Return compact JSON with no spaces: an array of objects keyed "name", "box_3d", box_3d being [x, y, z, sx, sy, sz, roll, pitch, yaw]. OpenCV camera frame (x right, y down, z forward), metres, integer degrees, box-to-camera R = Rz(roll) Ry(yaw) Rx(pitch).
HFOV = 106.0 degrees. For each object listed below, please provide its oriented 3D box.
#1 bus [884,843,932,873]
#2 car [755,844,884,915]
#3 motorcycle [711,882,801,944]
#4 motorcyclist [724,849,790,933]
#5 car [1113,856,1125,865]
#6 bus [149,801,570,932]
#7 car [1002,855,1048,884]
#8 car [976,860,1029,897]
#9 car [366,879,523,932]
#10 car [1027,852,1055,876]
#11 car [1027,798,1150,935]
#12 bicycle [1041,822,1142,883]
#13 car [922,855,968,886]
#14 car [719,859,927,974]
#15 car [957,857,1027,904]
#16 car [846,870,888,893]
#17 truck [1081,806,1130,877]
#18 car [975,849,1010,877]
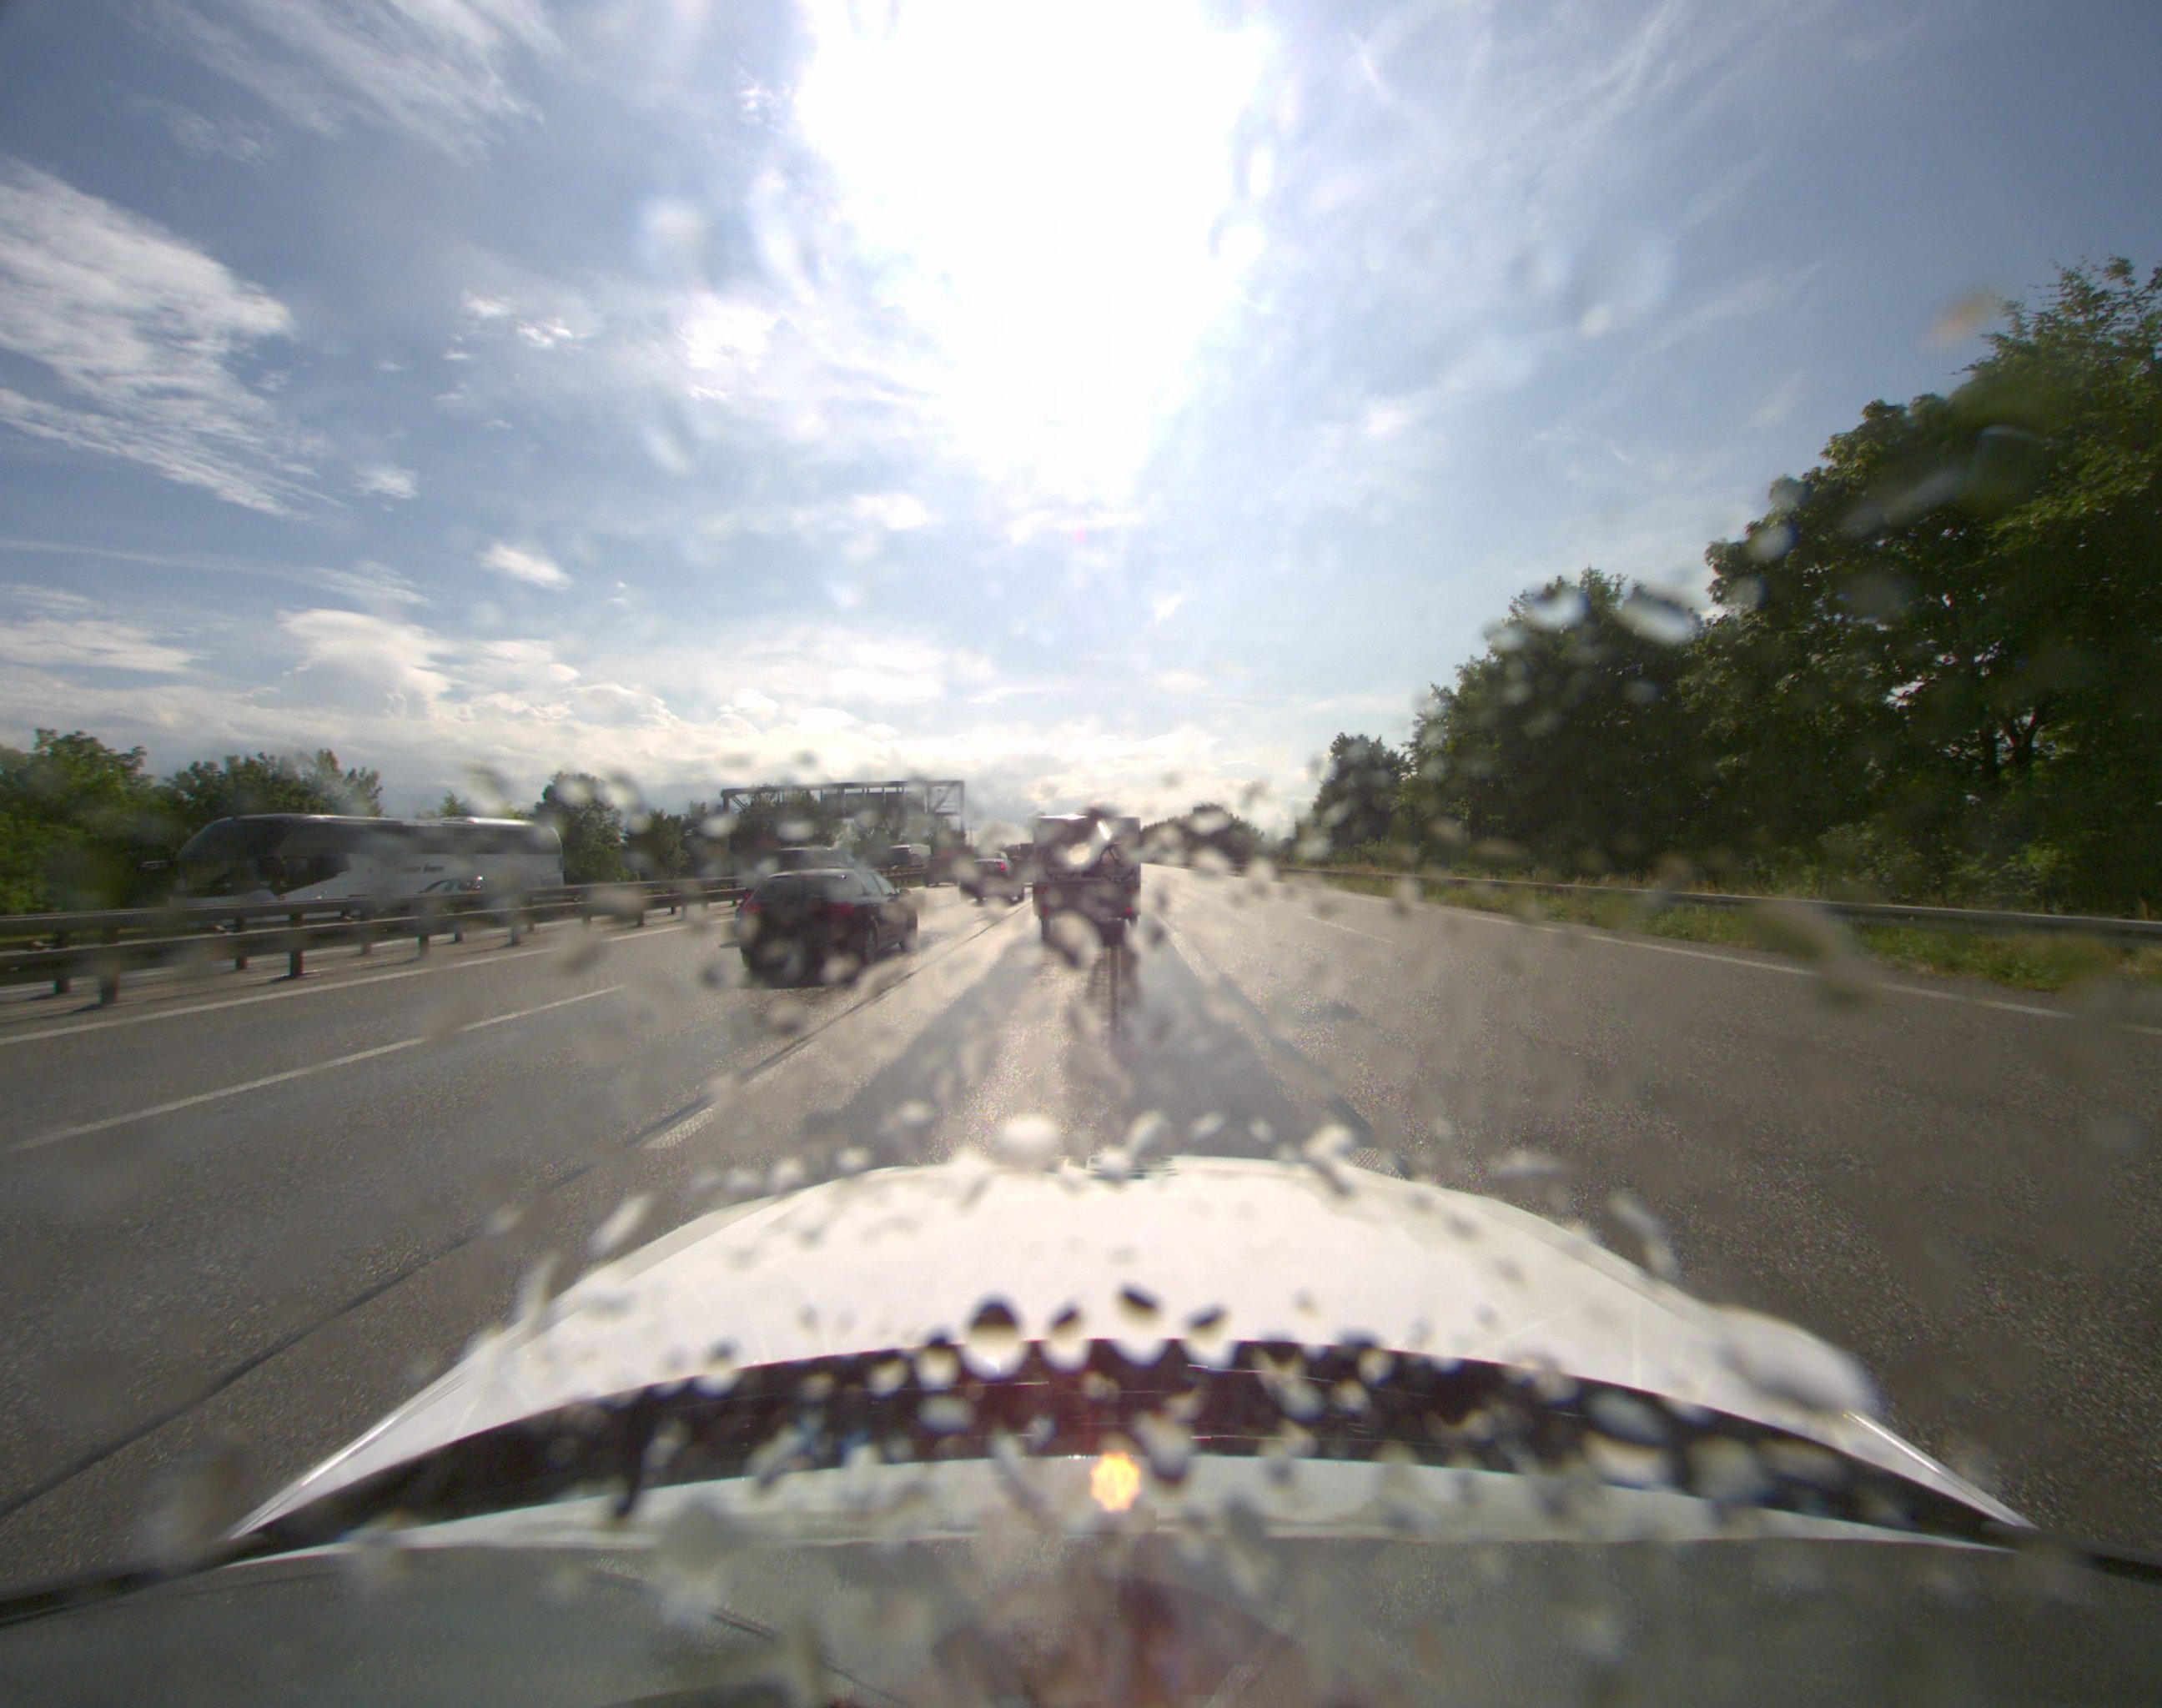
[{"name":"bus","box_3d":[-20.118,0.492,95.652,2.930,3.286,12.209,-1,0,0]},{"name":"car","box_3d":[-7.504,0.666,24.061,1.799,1.844,5.422,-1,0,3]},{"name":"motorcycle","box_3d":[-6.176,1.088,15.626,0.688,1.027,2.389,-1,0,2]},{"name":"motorcyclist","box_3d":[-6.182,0.677,15.586,0.793,1.537,1.093,-1,0,2]},{"name":"car","box_3d":[6.671,1.165,144.192,1.830,1.558,3.997,0,0,-2]},{"name":"bus","box_3d":[-22.810,0.345,27.559,2.880,3.374,12.474,-1,0,1]},{"name":"car","box_3d":[-2.954,0.815,43.746,1.979,1.458,3.829,-1,0,3]},{"name":"car","box_3d":[-3.413,1.041,35.968,1.856,1.508,4.001,-1,0,1]},{"name":"car","box_3d":[-18.456,1.443,23.827,1.643,1.310,3.527,-1,0,4]},{"name":"car","box_3d":[-2.876,0.700,59.127,1.682,1.662,3.642,-1,0,2]},{"name":"car","box_3d":[0.245,0.261,17.976,2.401,2.674,4.003,0,-1,3]},{"name":"bicycle","box_3d":[0.213,-0.024,15.792,1.925,1.141,0.384,0,-1,3]},{"name":"car","box_3d":[-7.432,0.862,44.680,1.777,1.578,3.916,-1,0,1]},{"name":"car","box_3d":[-3.708,0.820,12.506,1.743,1.433,4.056,-1,0,2]},{"name":"car","box_3d":[-2.951,0.841,27.775,1.751,1.443,4.003,-1,0,3]},{"name":"car","box_3d":[-14.719,1.882,56.243,1.769,1.442,4.001,-1,0,1]},{"name":"truck","box_3d":[1.747,-0.810,59.511,3.135,4.626,10.737,-1,0,1]},{"name":"car","box_3d":[-6.455,0.641,60.029,1.841,1.934,5.018,-1,0,2]}]
